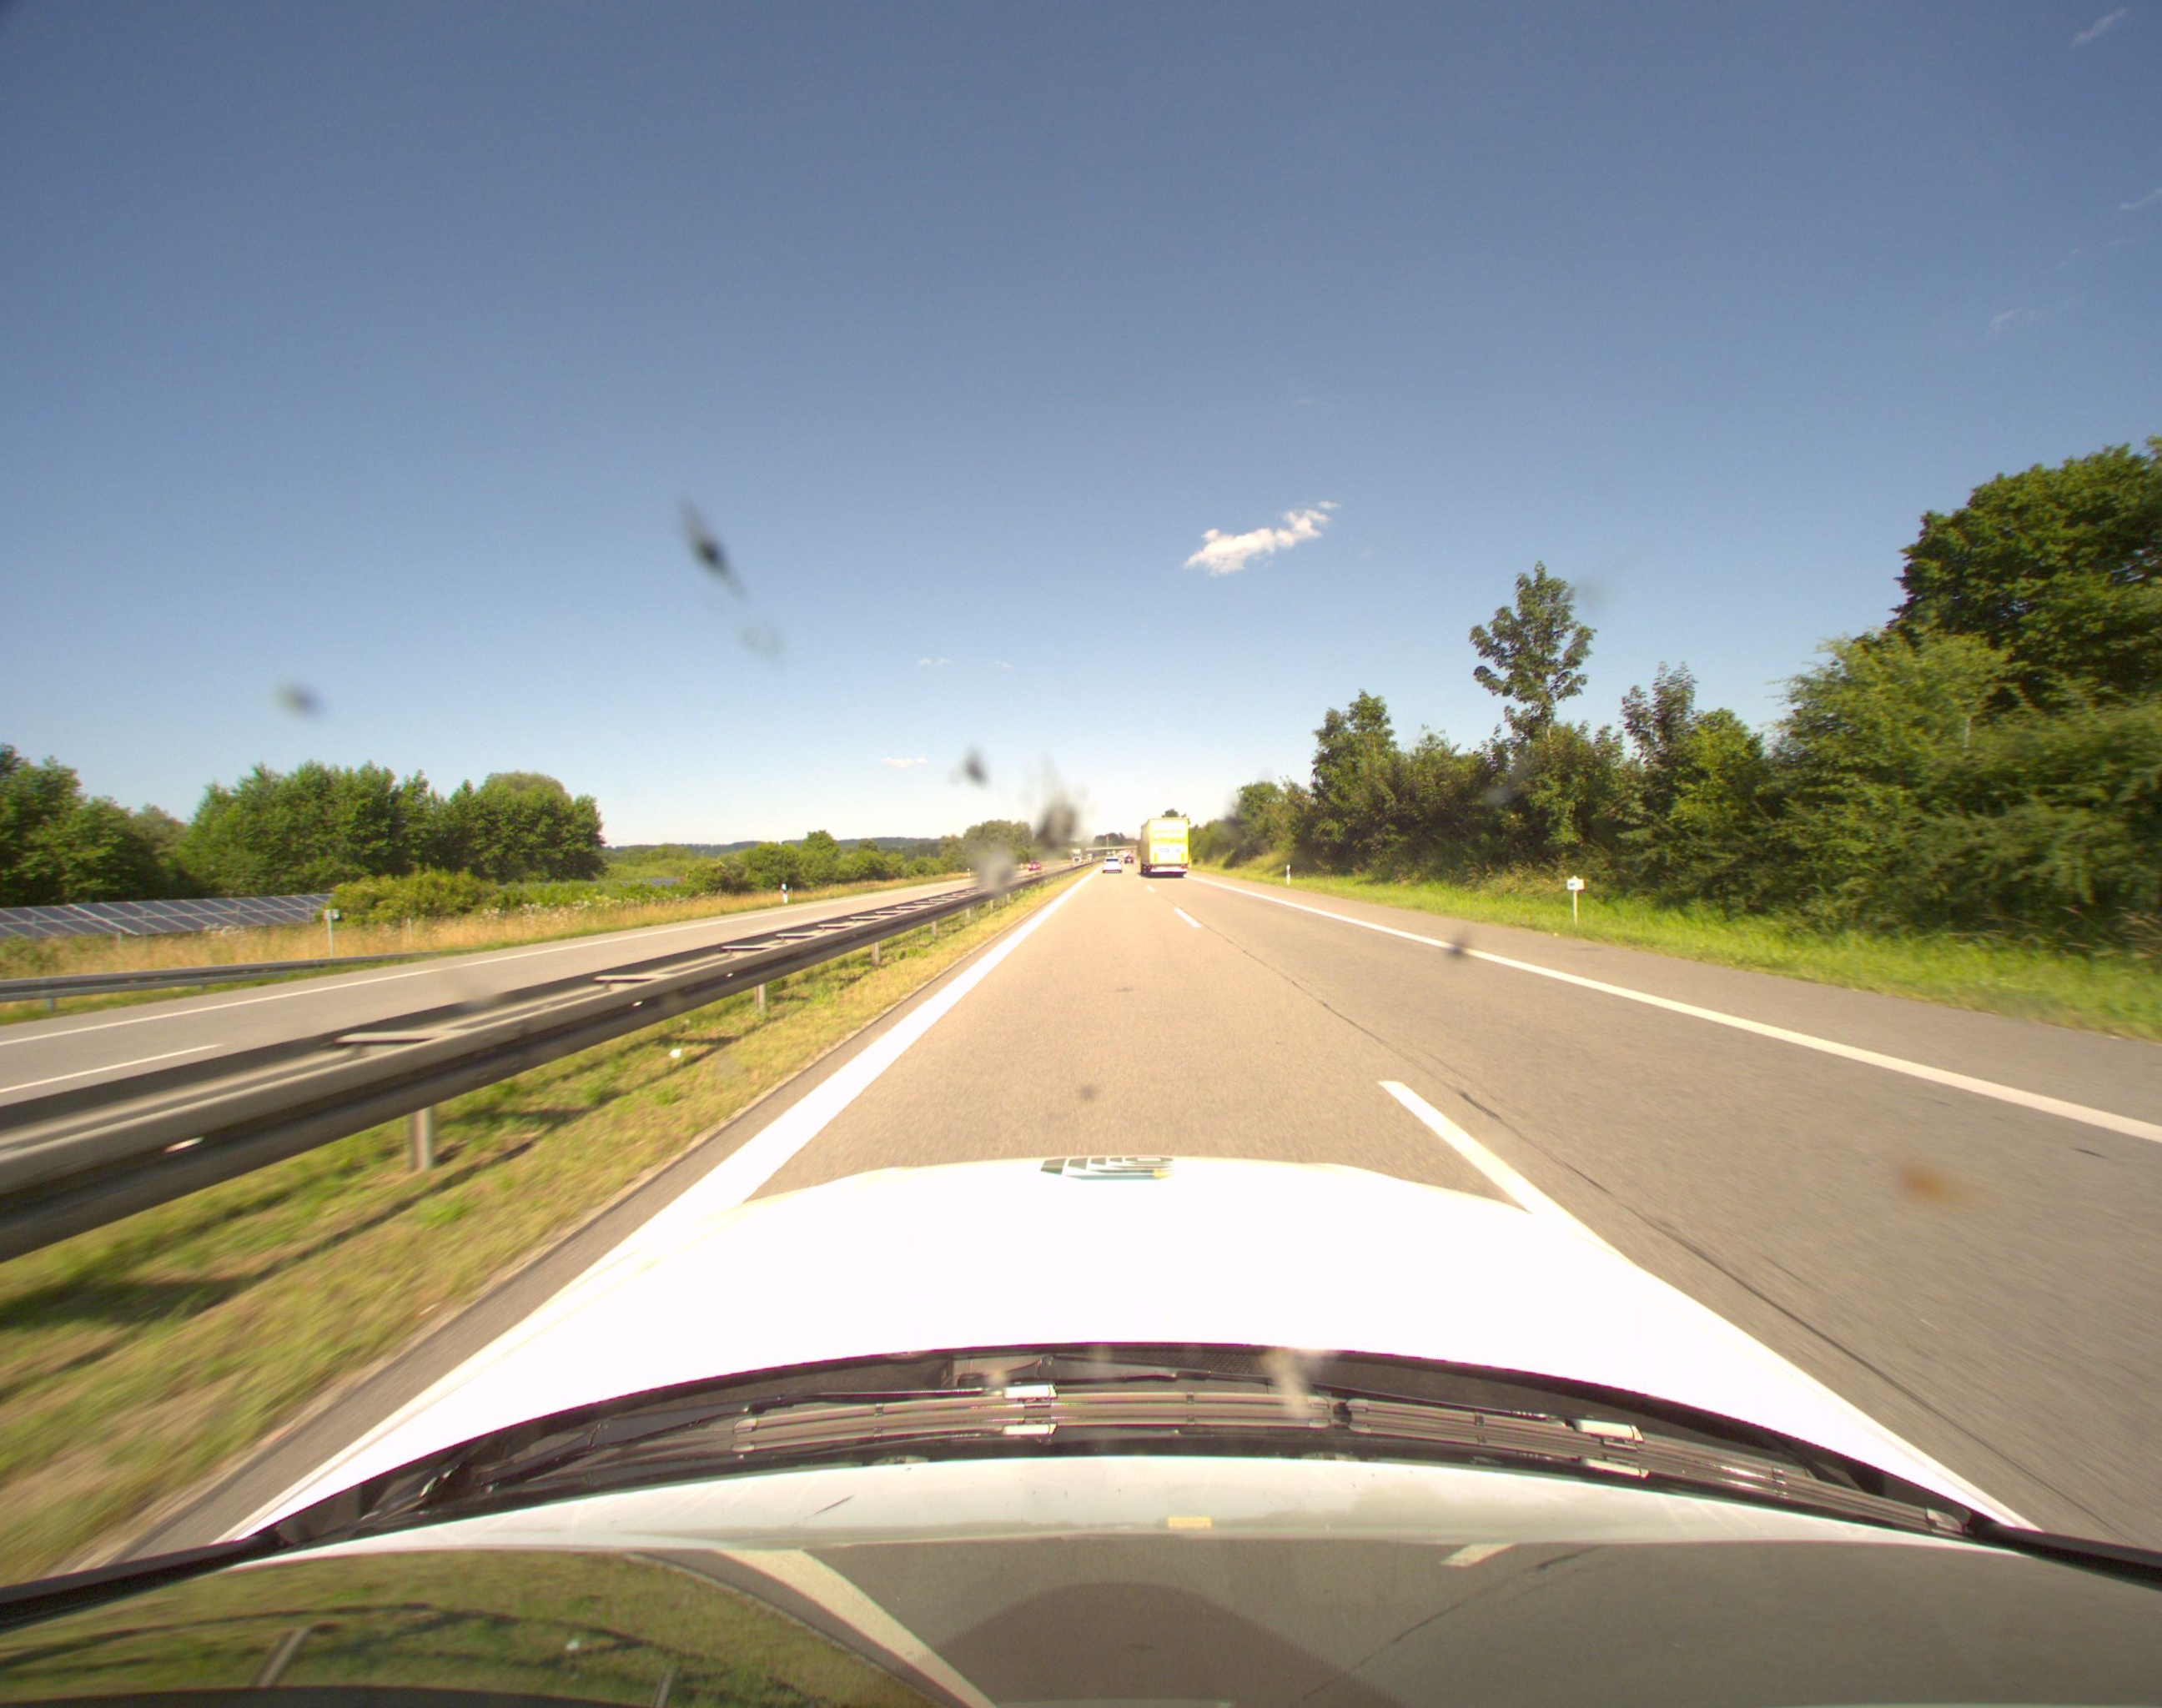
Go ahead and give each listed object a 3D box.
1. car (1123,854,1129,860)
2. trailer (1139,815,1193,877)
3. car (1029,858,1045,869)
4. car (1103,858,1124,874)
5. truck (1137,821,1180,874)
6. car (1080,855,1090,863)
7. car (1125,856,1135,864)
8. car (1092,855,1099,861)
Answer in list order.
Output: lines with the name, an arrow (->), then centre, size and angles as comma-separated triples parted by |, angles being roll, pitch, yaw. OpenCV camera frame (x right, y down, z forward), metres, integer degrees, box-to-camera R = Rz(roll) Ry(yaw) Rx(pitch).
car -> 14.314, 0.991, 260.962 | 1.895, 1.683, 4.733 | 1, 0, 2
trailer -> 6.093, -0.498, 60.355 | 3.172, 4.059, 13.194 | 0, 0, 2
car -> -6.150, 1.332, 114.730 | 1.723, 1.511, 4.483 | -4, -1, 3
car -> 2.989, 1.087, 74.678 | 1.835, 1.415, 4.003 | 0, 0, 3
truck -> 6.340, -0.493, 67.495 | 3.157, 4.114, 6.390 | 0, 0, 1
car -> 1.062, 1.262, 195.594 | 1.941, 1.771, 4.754 | -4, -1, 4
car -> 9.483, 1.083, 157.696 | 1.835, 1.520, 4.003 | 0, 0, 3
car -> 4.558, 1.219, 256.972 | 1.718, 1.582, 4.771 | -5, -1, 3
